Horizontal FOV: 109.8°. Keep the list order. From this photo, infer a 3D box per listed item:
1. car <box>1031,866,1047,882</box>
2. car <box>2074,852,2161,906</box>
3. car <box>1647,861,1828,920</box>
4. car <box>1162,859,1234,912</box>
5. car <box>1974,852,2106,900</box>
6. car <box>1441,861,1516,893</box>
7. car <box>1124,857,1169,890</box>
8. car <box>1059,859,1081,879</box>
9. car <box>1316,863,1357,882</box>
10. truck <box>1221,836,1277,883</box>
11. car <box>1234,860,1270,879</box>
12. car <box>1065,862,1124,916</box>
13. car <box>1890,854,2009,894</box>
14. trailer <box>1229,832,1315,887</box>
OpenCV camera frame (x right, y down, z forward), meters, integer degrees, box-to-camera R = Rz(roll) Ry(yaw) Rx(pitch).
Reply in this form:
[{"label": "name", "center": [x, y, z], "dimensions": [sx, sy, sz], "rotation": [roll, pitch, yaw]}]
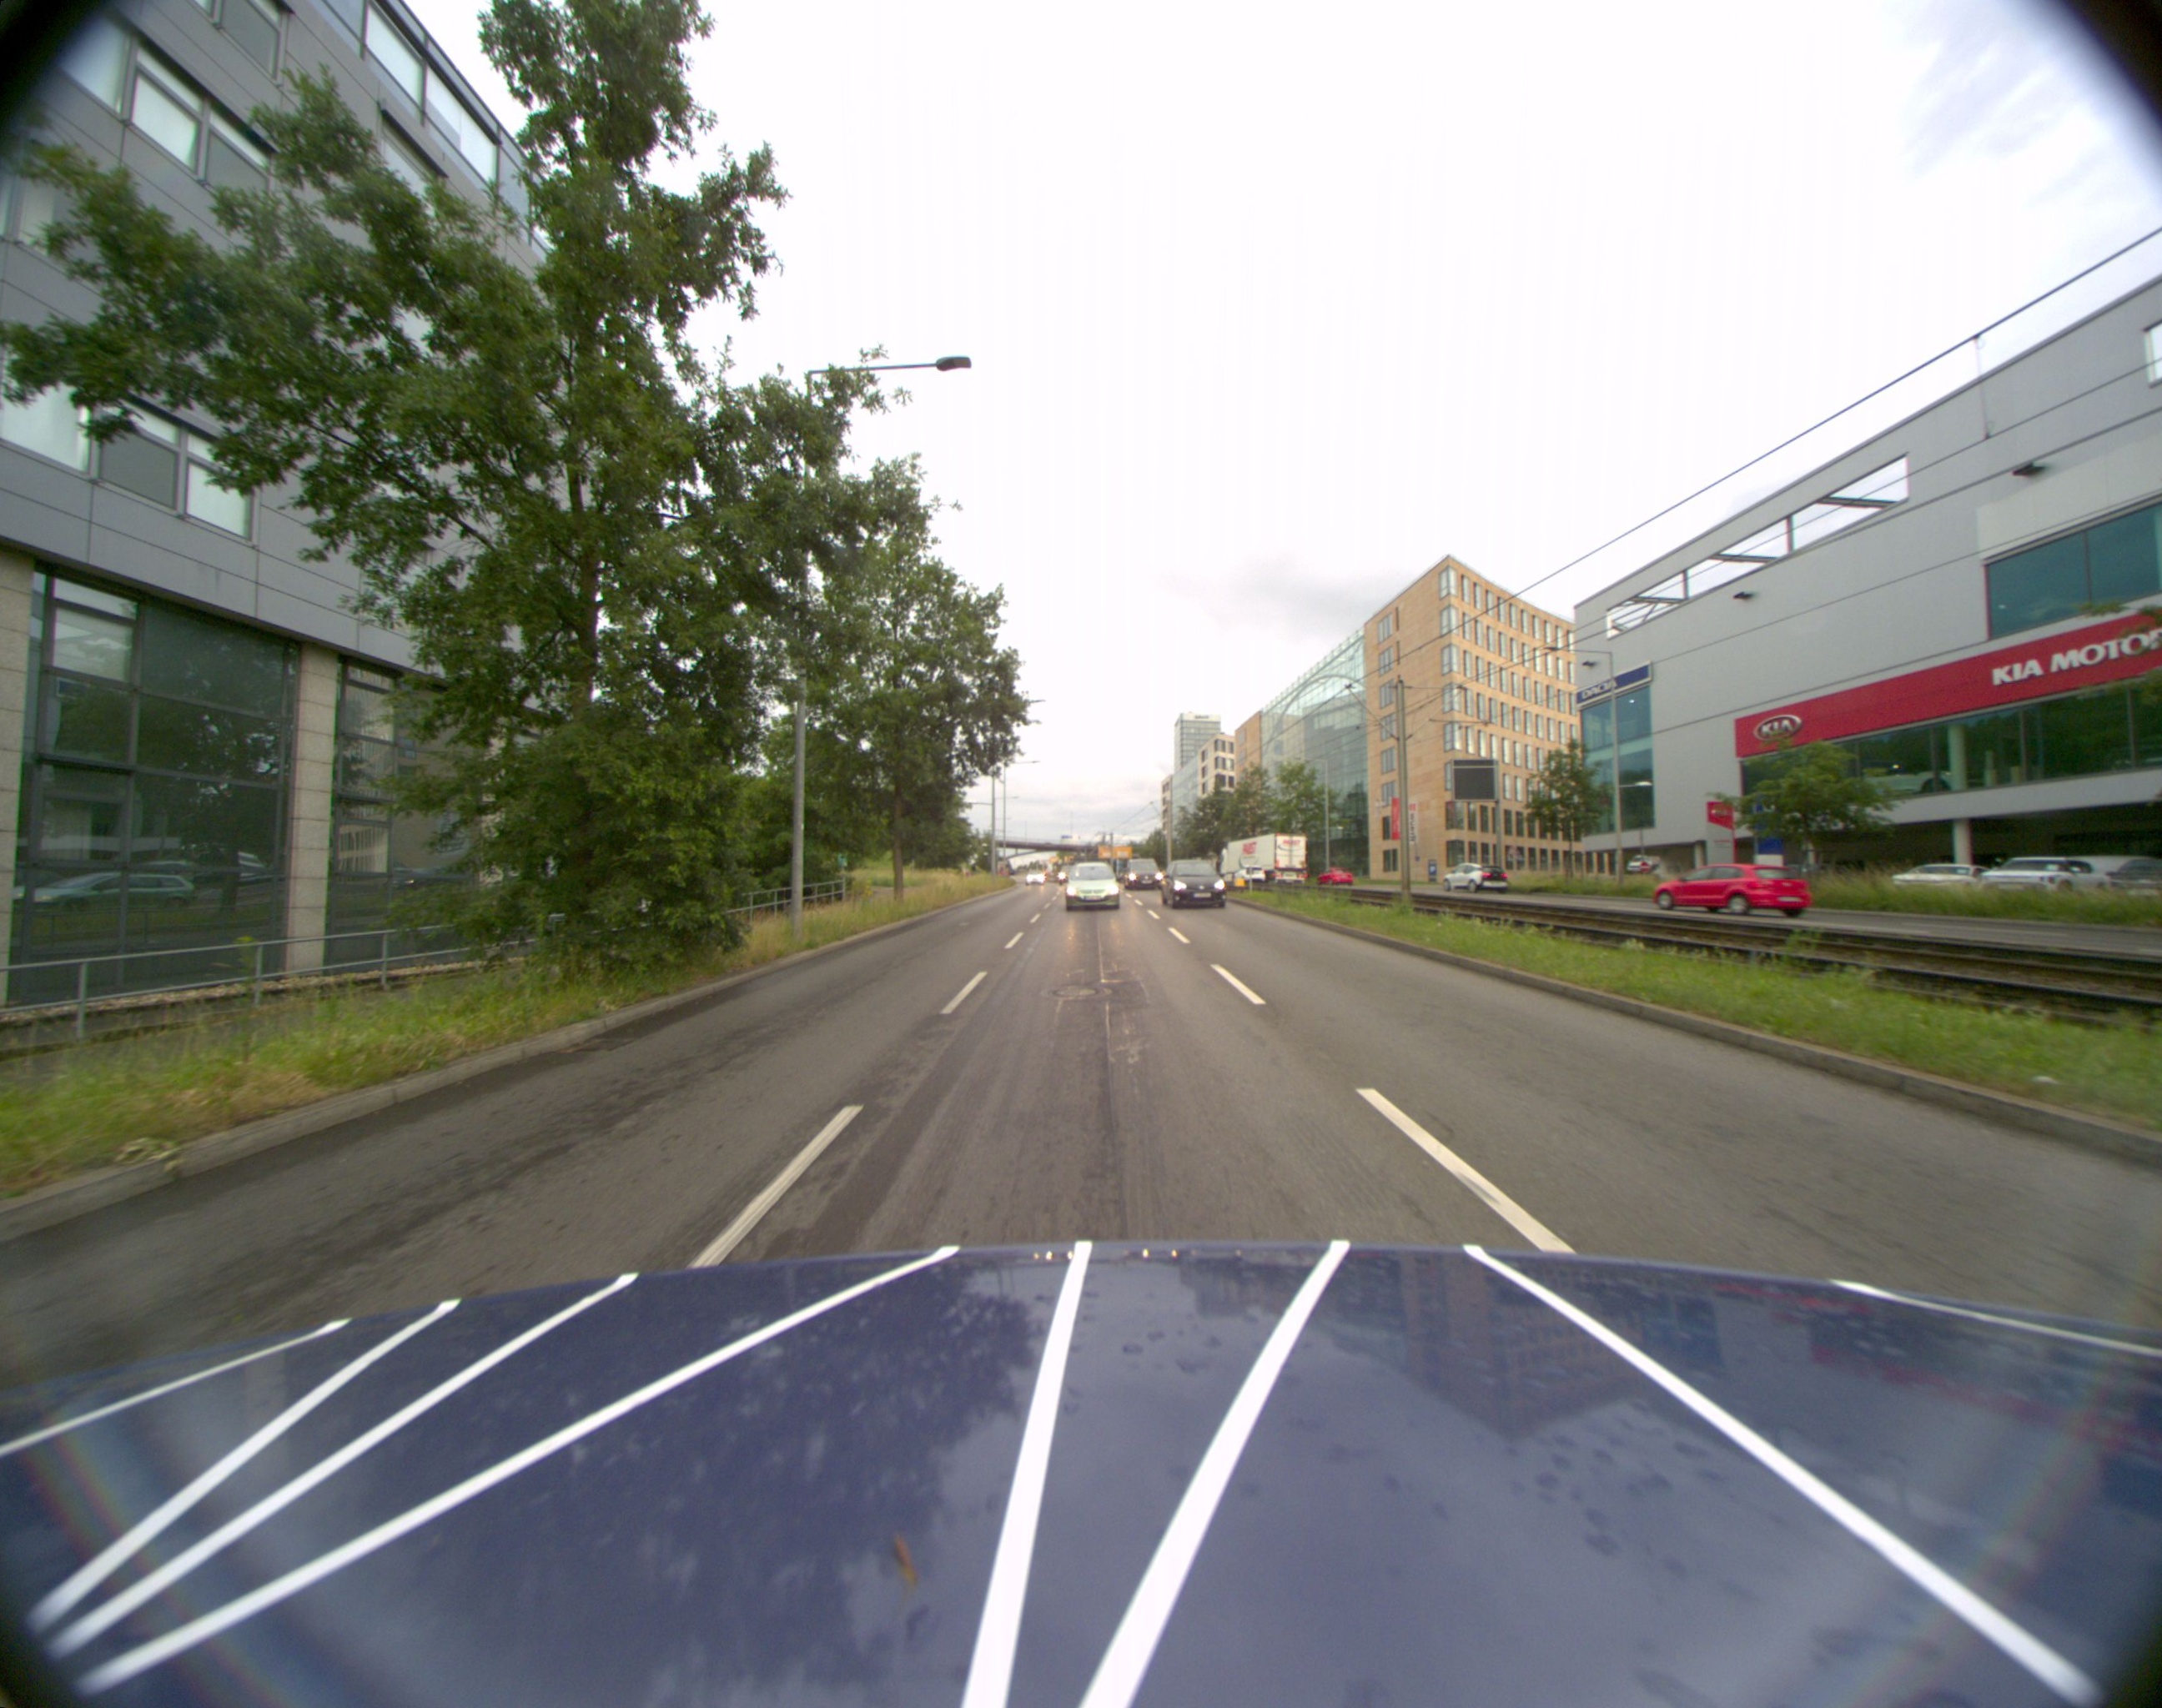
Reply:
[{"label": "car", "center": [-4.209, 1.978, 75.858], "dimensions": [1.518, 1.495, 3.167], "rotation": [-1, 0, -5]}, {"label": "car", "center": [31.593, 0.696, 22.381], "dimensions": [3.528, 1.344, 1.697], "rotation": [-3, 0, -17]}, {"label": "car", "center": [18.701, 0.982, 21.925], "dimensions": [1.588, 1.504, 4.101], "rotation": [1, 0, -1]}, {"label": "car", "center": [3.673, 0.933, 24.419], "dimensions": [1.704, 1.523, 3.826], "rotation": [-1, 0, 0]}, {"label": "car", "center": [31.757, 0.700, 25.162], "dimensions": [3.668, 1.287, 1.696], "rotation": [-3, 0, -22]}, {"label": "car", "center": [21.141, 1.173, 40.609], "dimensions": [1.688, 1.571, 4.098], "rotation": [-1, 0, -2]}, {"label": "car", "center": [3.414, 0.977, 40.295], "dimensions": [1.786, 1.597, 4.316], "rotation": [-2, 0, -2]}, {"label": "car", "center": [-0.947, 1.241, 65.449], "dimensions": [1.759, 1.649, 4.337], "rotation": [-1, 0, -3]}, {"label": "car", "center": [20.099, 1.442, 59.948], "dimensions": [1.689, 1.361, 4.024], "rotation": [-1, 0, -4]}, {"label": "truck", "center": [15.937, 0.526, 72.715], "dimensions": [3.144, 4.219, 7.025], "rotation": [2, 0, -5]}, {"label": "car", "center": [13.617, 1.235, 60.657], "dimensions": [1.689, 1.428, 4.098], "rotation": [1, 0, -4]}, {"label": "car", "center": [0.419, 1.047, 24.551], "dimensions": [1.704, 1.523, 4.371], "rotation": [-1, 0, 1]}, {"label": "car", "center": [31.736, 0.726, 27.767], "dimensions": [3.668, 1.181, 1.696], "rotation": [-3, 0, -22]}, {"label": "trailer", "center": [16.397, 0.473, 66.553], "dimensions": [3.143, 4.303, 13.276], "rotation": [2, 0, -4]}]
